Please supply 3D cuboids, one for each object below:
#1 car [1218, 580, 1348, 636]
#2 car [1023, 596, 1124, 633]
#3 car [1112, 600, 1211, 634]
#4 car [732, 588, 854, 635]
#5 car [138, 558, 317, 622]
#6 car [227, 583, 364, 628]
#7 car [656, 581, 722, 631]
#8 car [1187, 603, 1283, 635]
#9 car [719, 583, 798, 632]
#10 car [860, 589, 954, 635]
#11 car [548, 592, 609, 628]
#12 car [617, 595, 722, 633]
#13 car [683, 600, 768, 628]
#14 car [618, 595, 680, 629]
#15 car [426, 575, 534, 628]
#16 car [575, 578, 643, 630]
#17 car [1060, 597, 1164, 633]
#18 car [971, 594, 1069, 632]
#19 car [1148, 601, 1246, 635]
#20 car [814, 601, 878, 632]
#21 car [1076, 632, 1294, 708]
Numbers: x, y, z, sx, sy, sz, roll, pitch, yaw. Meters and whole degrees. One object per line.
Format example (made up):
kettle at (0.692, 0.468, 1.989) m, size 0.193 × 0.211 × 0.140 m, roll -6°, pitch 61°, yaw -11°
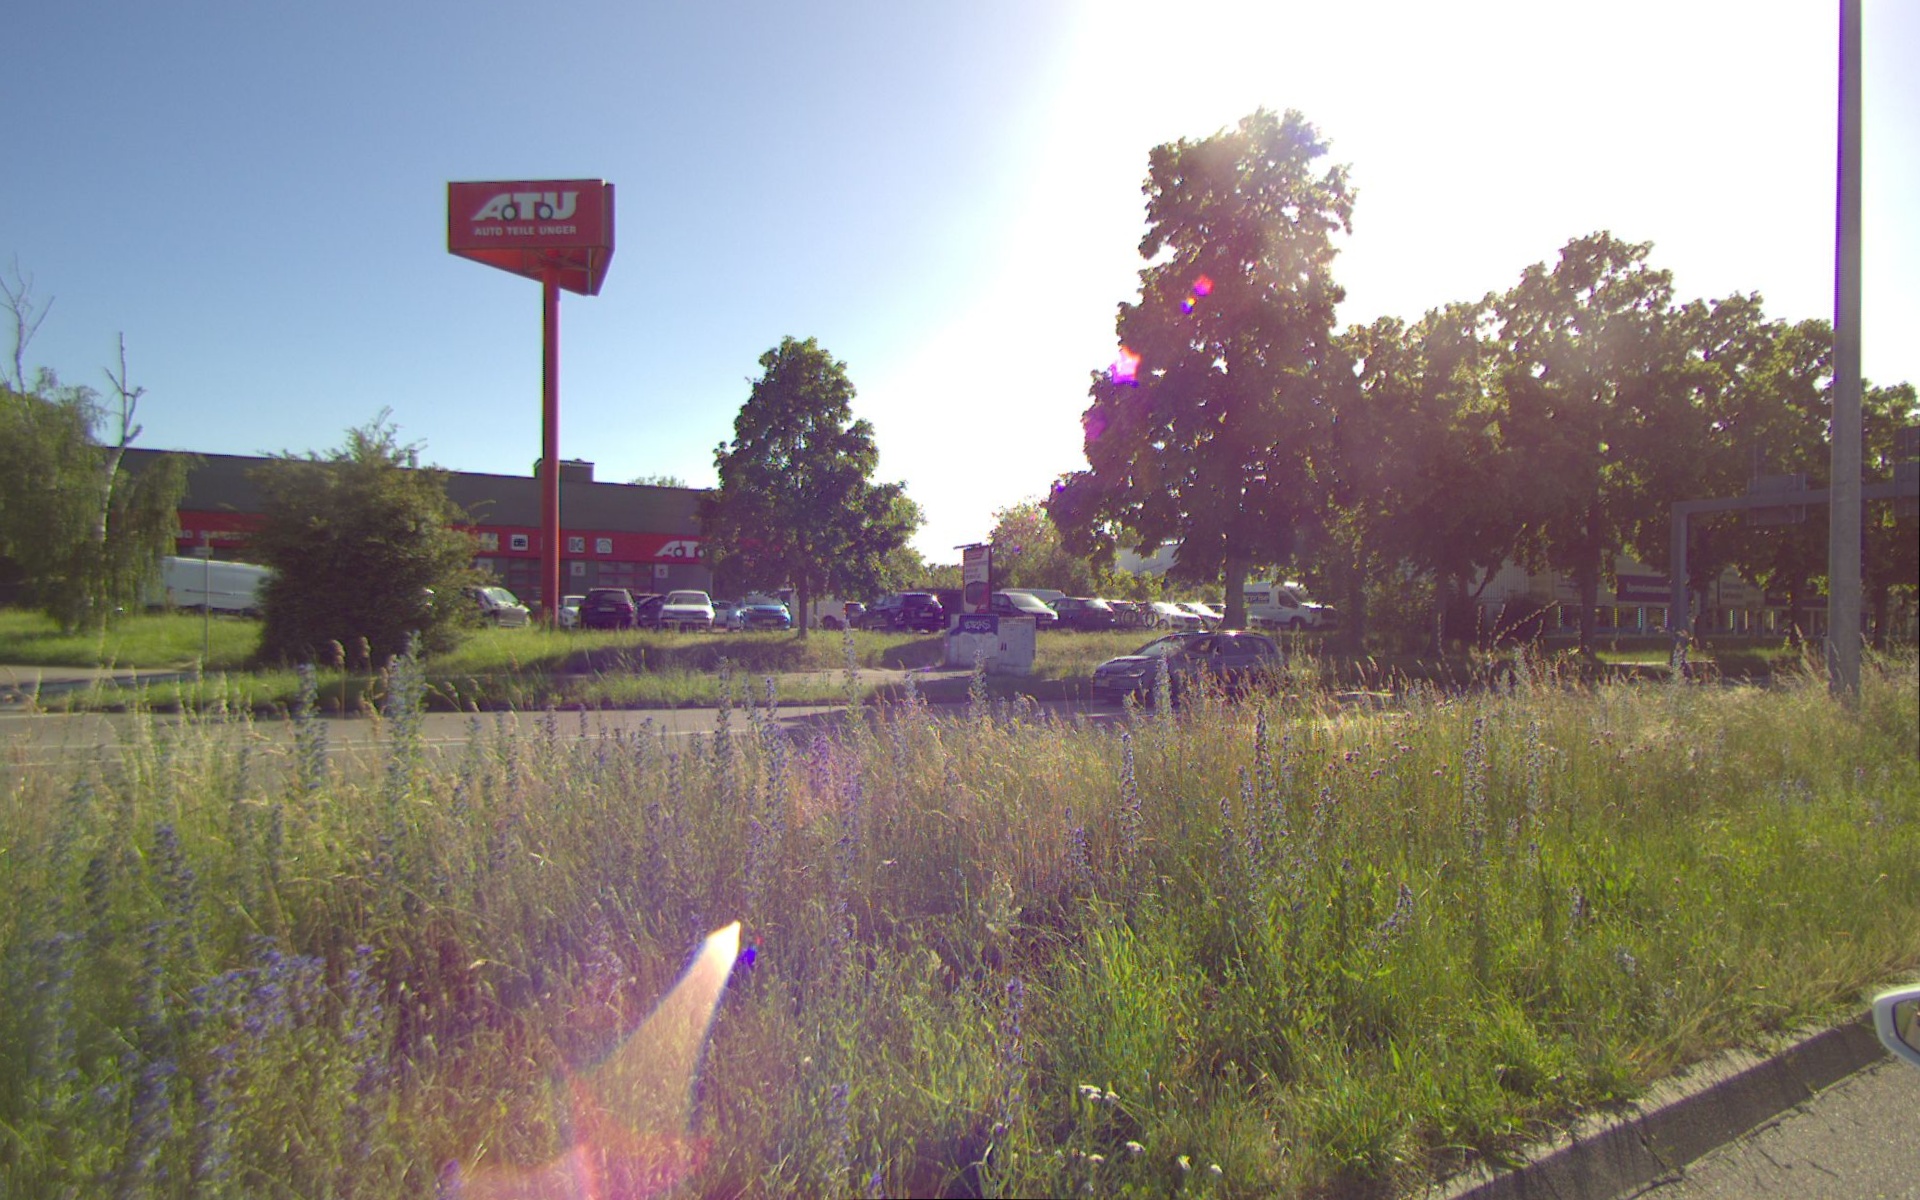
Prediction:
car at (15.103, 0.419, 47.373) m, size 2.183 × 2.465 × 5.844 m, roll 1°, pitch -1°, yaw -32°
car at (4.496, 0.588, 40.340) m, size 1.925 × 1.407 × 4.095 m, roll 1°, pitch -1°, yaw -32°
car at (8.621, 0.741, 43.239) m, size 1.925 × 1.407 × 4.095 m, roll 1°, pitch -1°, yaw -32°
car at (-7.405, 0.526, 44.619) m, size 5.062 × 1.982 × 1.774 m, roll 1°, pitch -1°, yaw -26°
car at (-26.902, -0.285, 37.118) m, size 1.861 × 2.180 × 5.039 m, roll 0°, pitch -1°, yaw 28°
car at (-22.872, 0.226, 34.789) m, size 1.857 × 1.474 × 4.133 m, roll 0°, pitch -1°, yaw 3°
car at (-9.120, 0.239, 33.601) m, size 1.866 × 1.572 × 4.115 m, roll 1°, pitch -1°, yaw -18°
car at (12.674, 0.886, 46.453) m, size 1.925 × 1.407 × 4.095 m, roll 1°, pitch -1°, yaw -32°
car at (-7.001, 0.278, 34.617) m, size 1.793 × 1.572 × 4.107 m, roll 1°, pitch -1°, yaw -24°
car at (-1.989, 0.445, 36.360) m, size 1.921 × 1.572 × 4.104 m, roll 1°, pitch -1°, yaw -26°
car at (-16.563, 0.472, 43.524) m, size 1.873 × 1.474 × 4.099 m, roll 1°, pitch -1°, yaw -29°
car at (-12.086, 0.604, 41.840) m, size 3.935 × 1.474 × 1.772 m, roll 1°, pitch -1°, yaw -29°
car at (-12.849, 0.778, 55.094) m, size 4.234 × 1.474 × 1.881 m, roll 1°, pitch -1°, yaw -29°
car at (-14.091, 0.556, 45.374) m, size 1.873 × 1.474 × 4.099 m, roll 1°, pitch -1°, yaw -29°
car at (-15.101, 0.084, 31.860) m, size 1.860 × 1.572 × 4.127 m, roll 1°, pitch -1°, yaw -7°
car at (-11.383, 0.164, 32.778) m, size 1.865 × 1.572 × 4.117 m, roll 1°, pitch -1°, yaw -17°
car at (6.237, 0.645, 41.867) m, size 1.923 × 1.407 × 4.600 m, roll 1°, pitch -1°, yaw -29°
car at (2.308, 0.515, 39.612) m, size 1.924 × 1.407 × 4.098 m, roll 1°, pitch -1°, yaw -30°
car at (10.558, 0.812, 44.948) m, size 1.925 × 1.407 × 4.095 m, roll 1°, pitch -1°, yaw -32°
car at (-5.752, 0.850, 50.253) m, size 1.871 × 1.474 × 4.103 m, roll 1°, pitch -1°, yaw -27°
car at (4.698, 1.405, 20.851) m, size 4.326 × 1.444 × 1.774 m, roll 1°, pitch -3°, yaw -28°
